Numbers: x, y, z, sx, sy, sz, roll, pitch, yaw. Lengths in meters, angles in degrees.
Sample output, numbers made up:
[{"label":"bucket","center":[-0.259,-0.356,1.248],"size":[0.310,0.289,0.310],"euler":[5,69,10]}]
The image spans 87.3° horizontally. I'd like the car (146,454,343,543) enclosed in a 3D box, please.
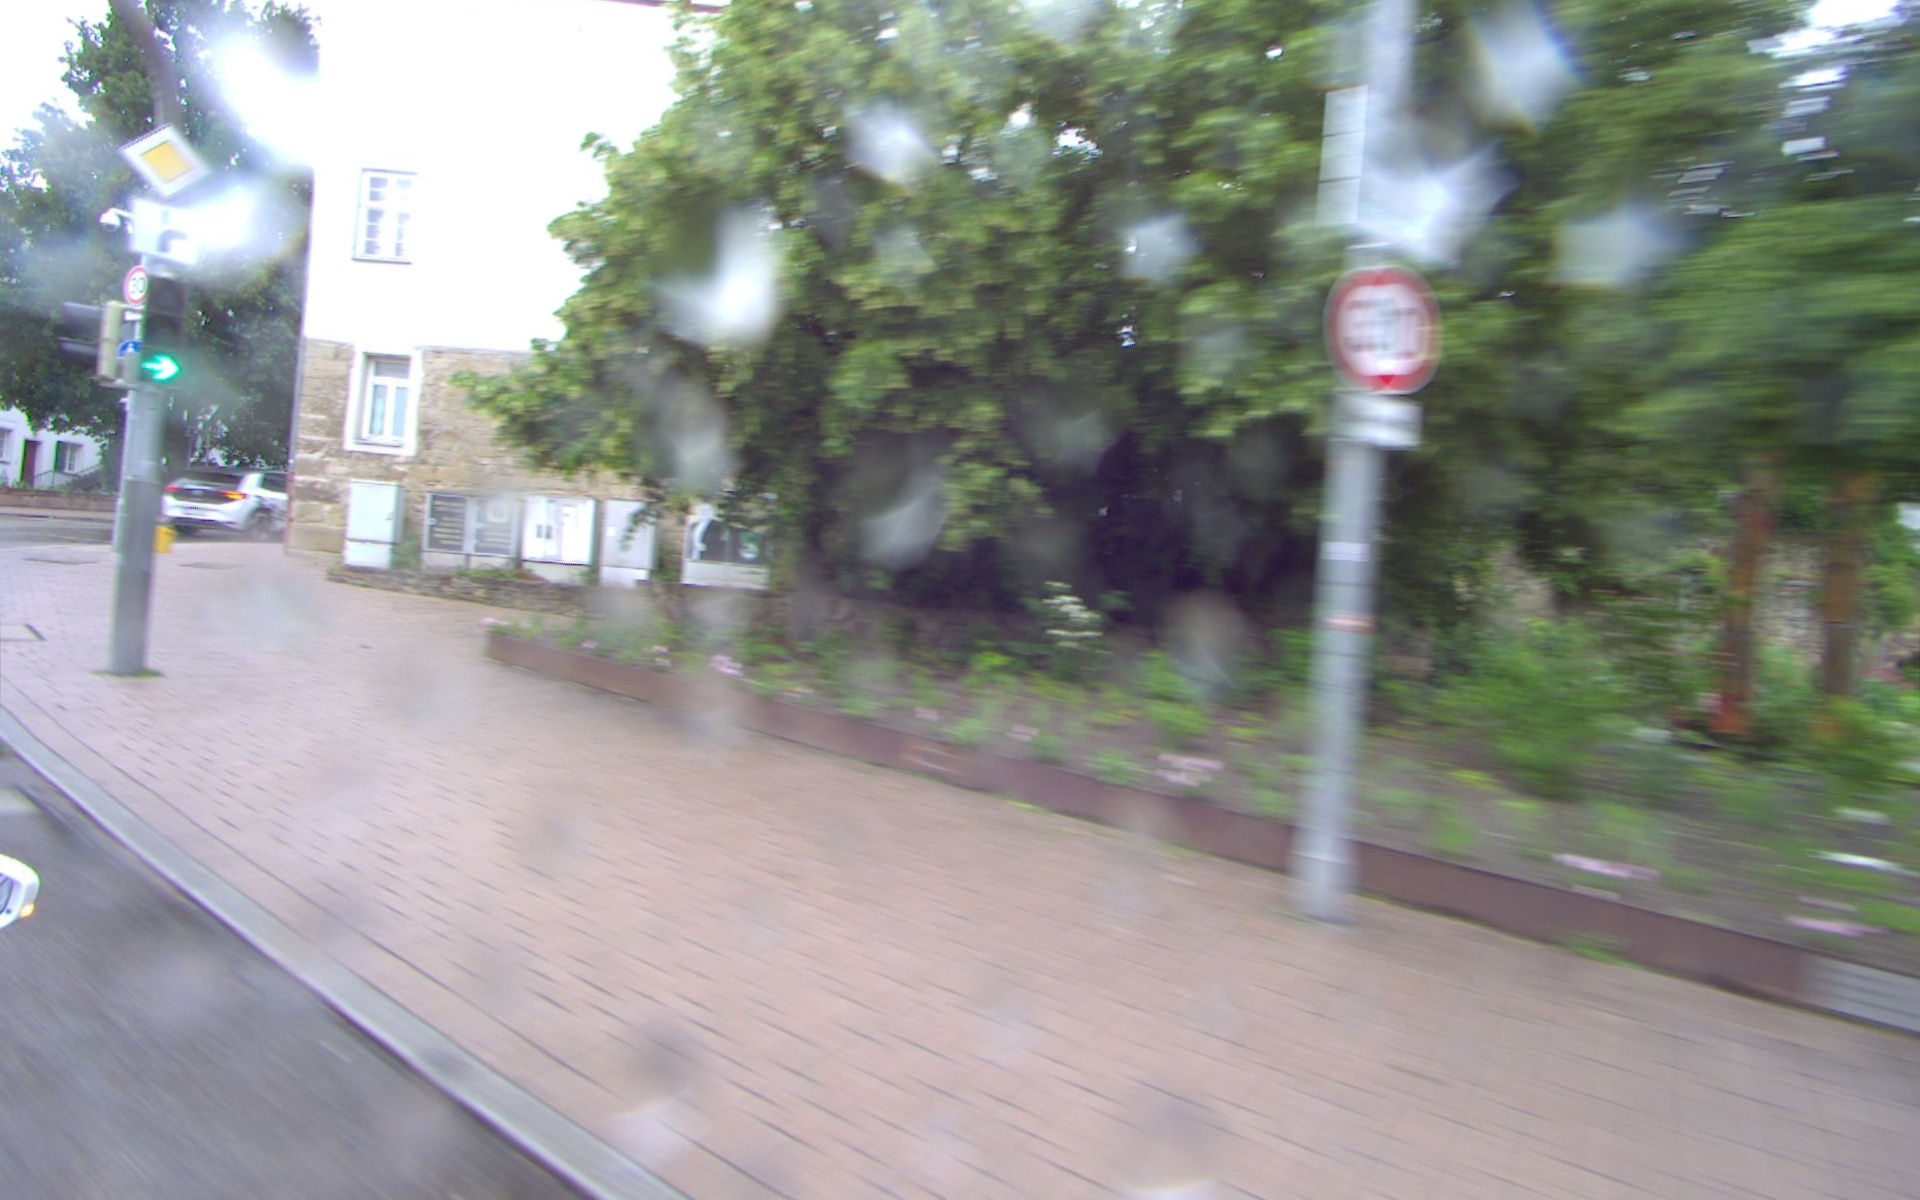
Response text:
[{"label":"car","center":[-15.733,-2.165,22.408],"size":[1.831,1.492,3.991],"euler":[7,1,-8]}]
